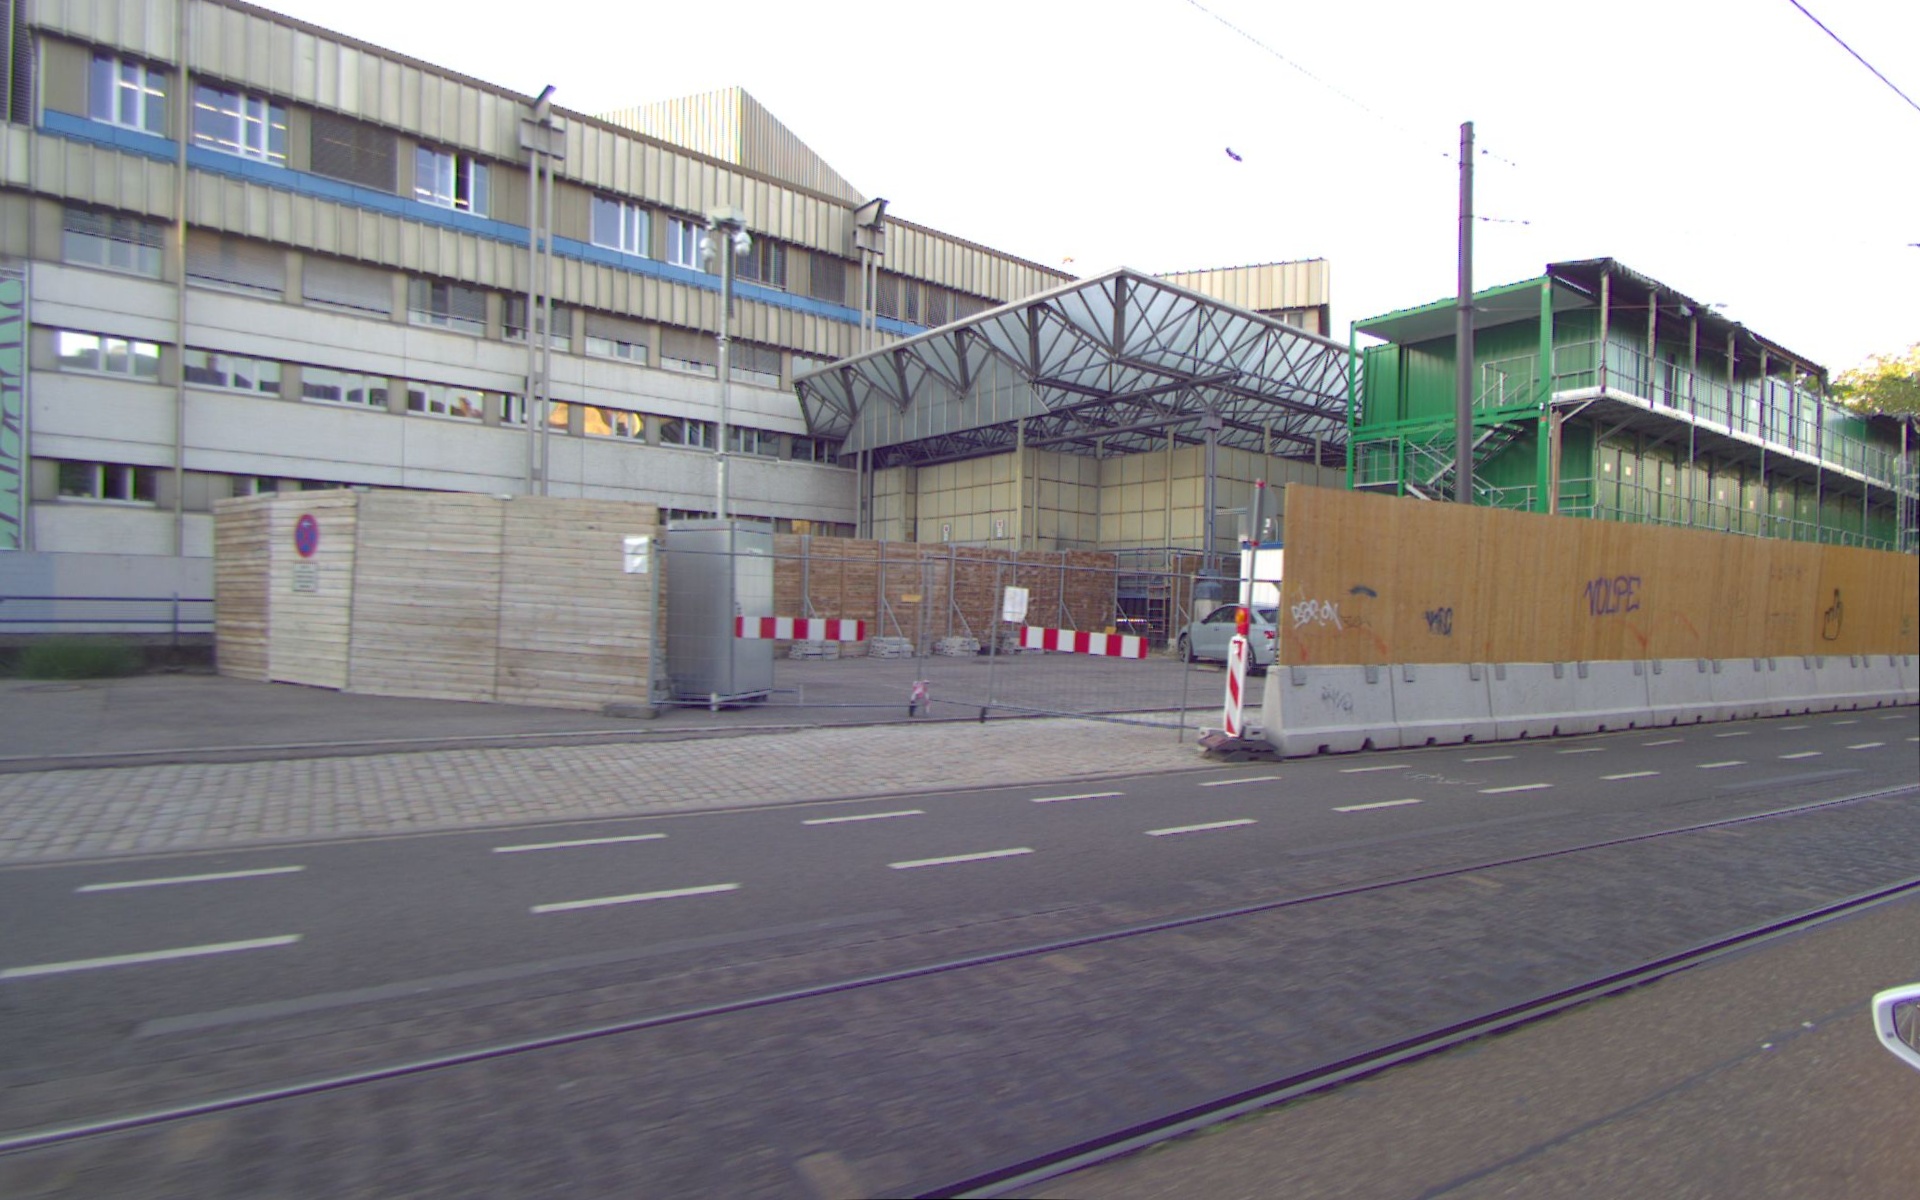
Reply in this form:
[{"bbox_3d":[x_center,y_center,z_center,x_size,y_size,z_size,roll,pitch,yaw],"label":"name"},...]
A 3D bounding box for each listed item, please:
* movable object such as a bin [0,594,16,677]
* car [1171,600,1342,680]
[{"bbox_3d":[-12.783,0.449,12.972,0.756,1.049,0.833,1,0,-37],"label":"movable object such as a bin"},{"bbox_3d":[6.283,0.797,21.810,1.707,1.421,3.995,1,2,-15],"label":"car"}]
